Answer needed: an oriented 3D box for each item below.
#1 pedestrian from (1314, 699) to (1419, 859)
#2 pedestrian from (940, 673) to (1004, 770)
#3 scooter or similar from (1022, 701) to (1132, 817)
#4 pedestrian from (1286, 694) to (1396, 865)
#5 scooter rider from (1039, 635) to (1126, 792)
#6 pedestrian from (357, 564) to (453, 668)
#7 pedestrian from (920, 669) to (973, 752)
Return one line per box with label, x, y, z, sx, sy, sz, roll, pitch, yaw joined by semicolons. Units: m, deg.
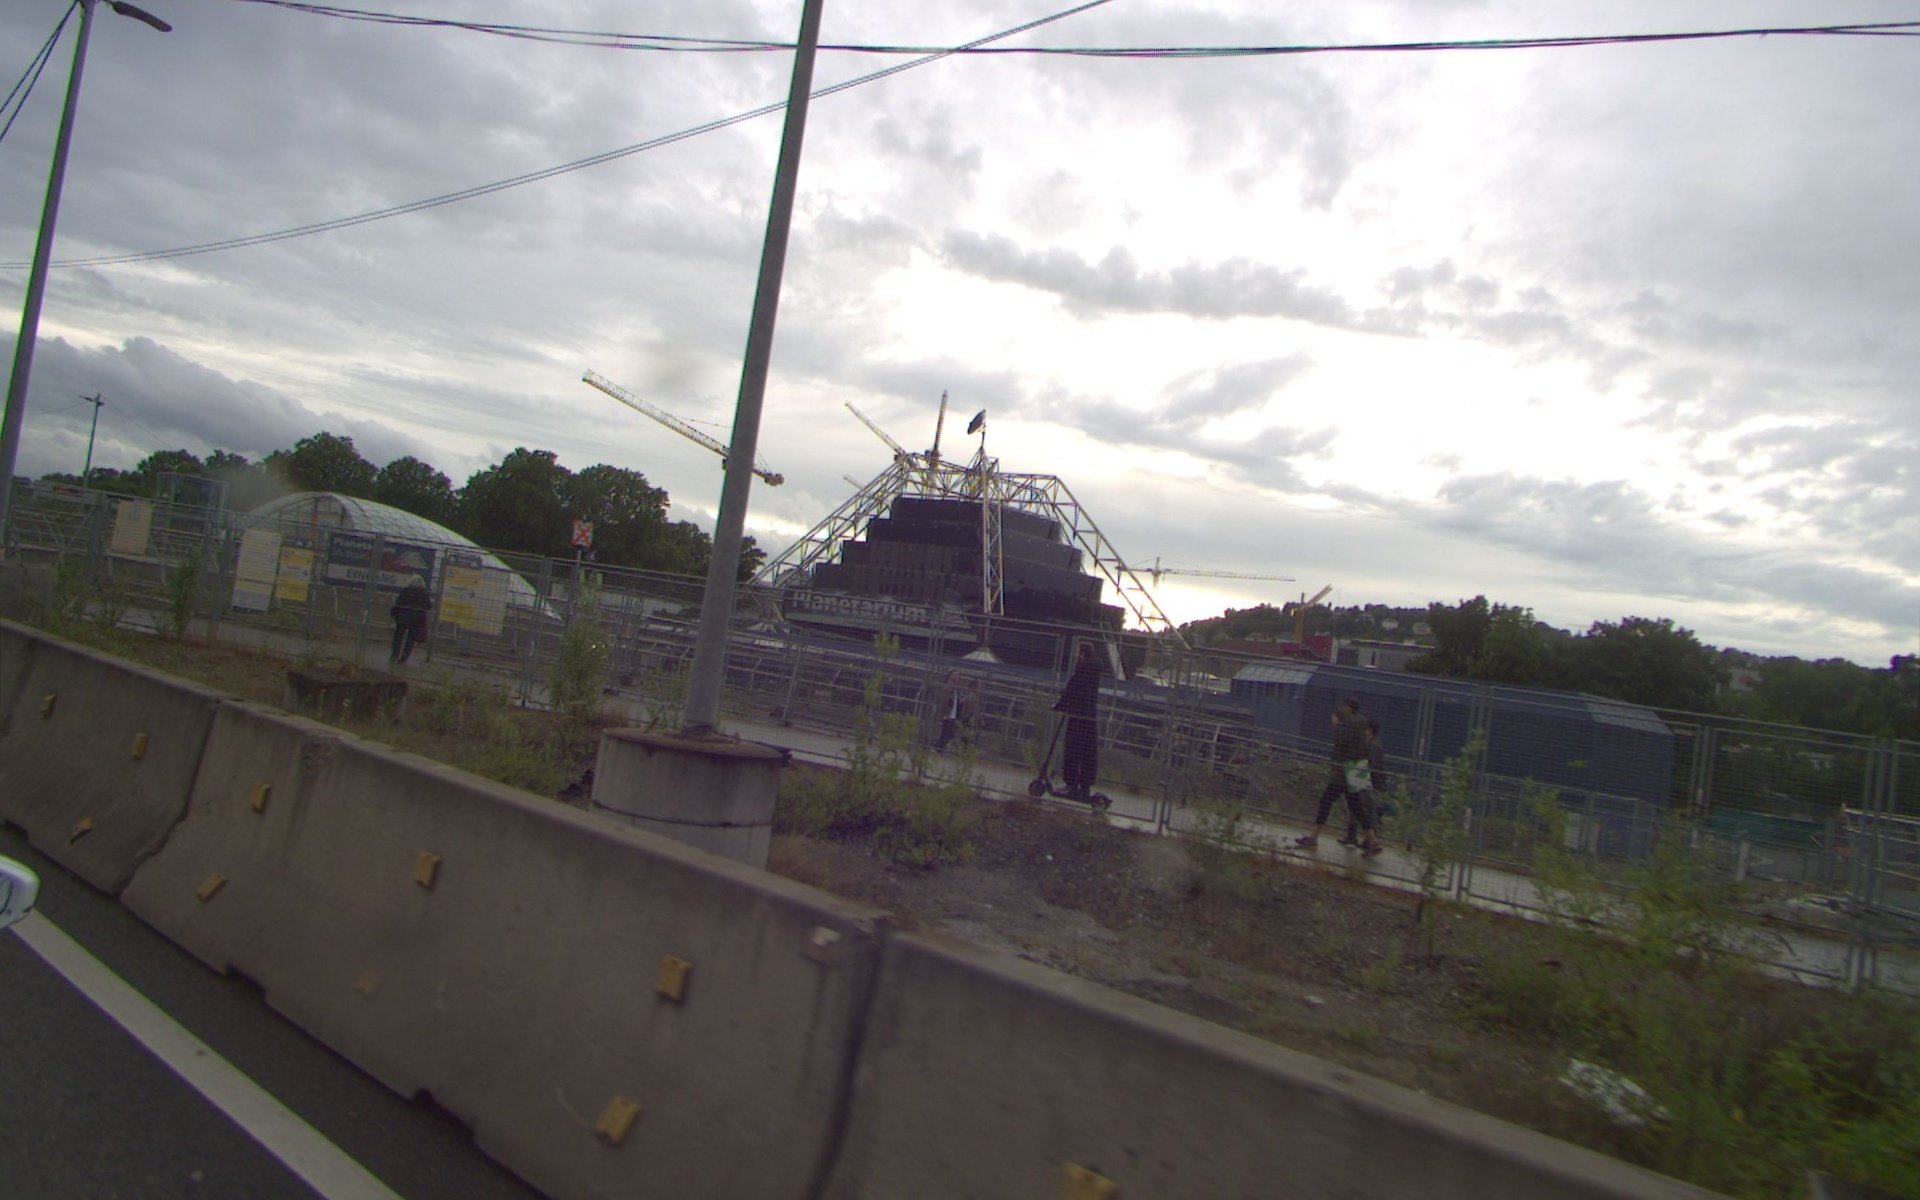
pedestrian;5.117;2.207;12.650;1.005;1.798;0.728;5;-2;28
pedestrian;0.222;2.261;18.894;1.004;1.651;0.692;7;-2;1
scooter or similar;1.418;1.901;12.192;1.077;1.193;0.492;7;-2;30
pedestrian;4.503;2.079;11.886;1.005;1.798;0.692;6;-2;26
scooter rider;1.491;1.366;12.203;0.687;1.775;0.522;7;-1;30
pedestrian;-9.672;0.303;17.581;0.882;1.677;1.024;6;-2;3
pedestrian;-0.259;2.161;19.806;0.876;1.489;0.692;7;-2;1
